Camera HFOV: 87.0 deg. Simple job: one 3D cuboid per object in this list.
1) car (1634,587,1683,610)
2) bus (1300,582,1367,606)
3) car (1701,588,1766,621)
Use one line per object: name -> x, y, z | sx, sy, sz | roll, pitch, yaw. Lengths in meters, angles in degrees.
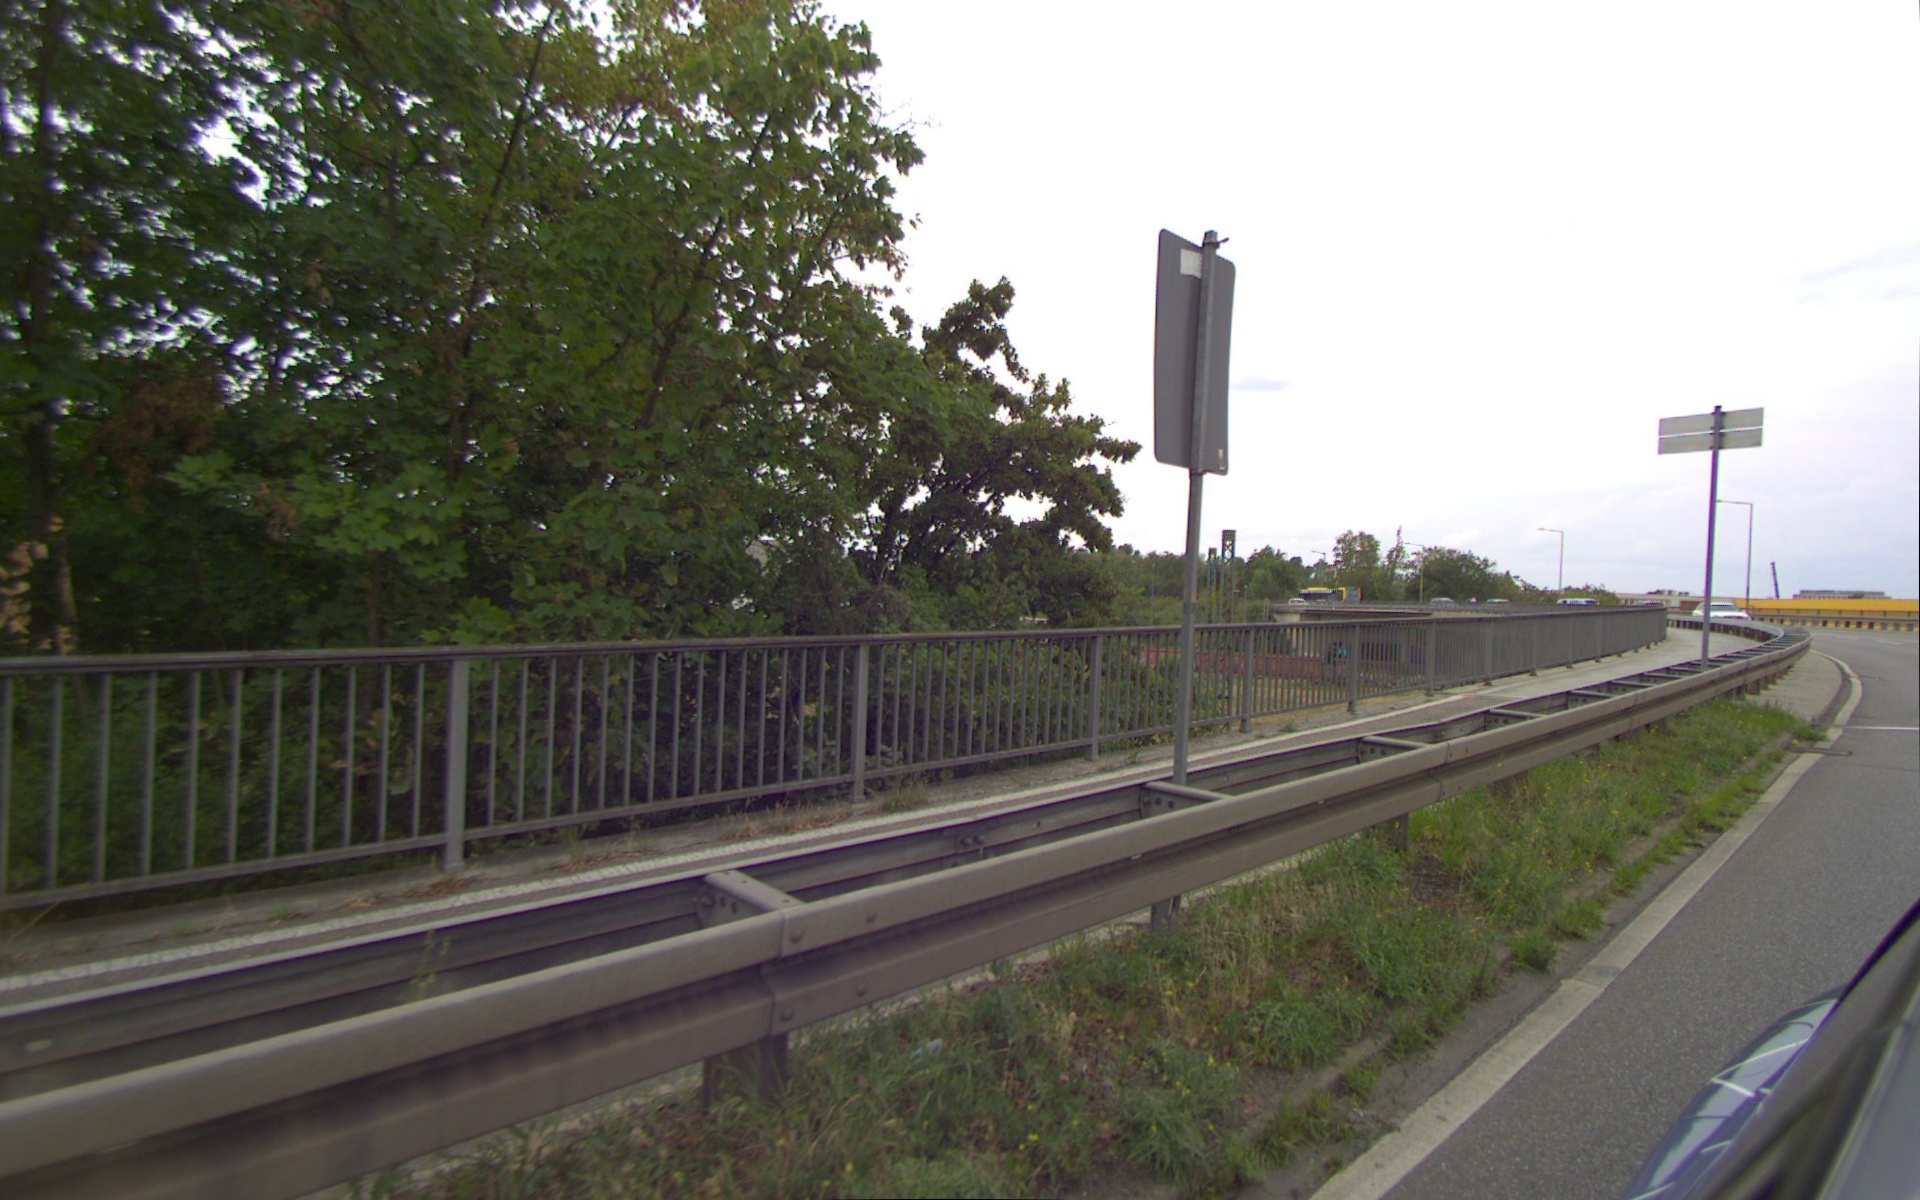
car -> 51.995, -0.148, 75.424 | 1.923, 1.613, 4.742 | 0, 1, 20
bus -> 52.531, -0.945, 142.941 | 2.979, 3.273, 12.973 | 0, 1, -9
car -> 41.317, 0.212, 54.148 | 1.920, 1.474, 3.853 | 4, 3, 26
